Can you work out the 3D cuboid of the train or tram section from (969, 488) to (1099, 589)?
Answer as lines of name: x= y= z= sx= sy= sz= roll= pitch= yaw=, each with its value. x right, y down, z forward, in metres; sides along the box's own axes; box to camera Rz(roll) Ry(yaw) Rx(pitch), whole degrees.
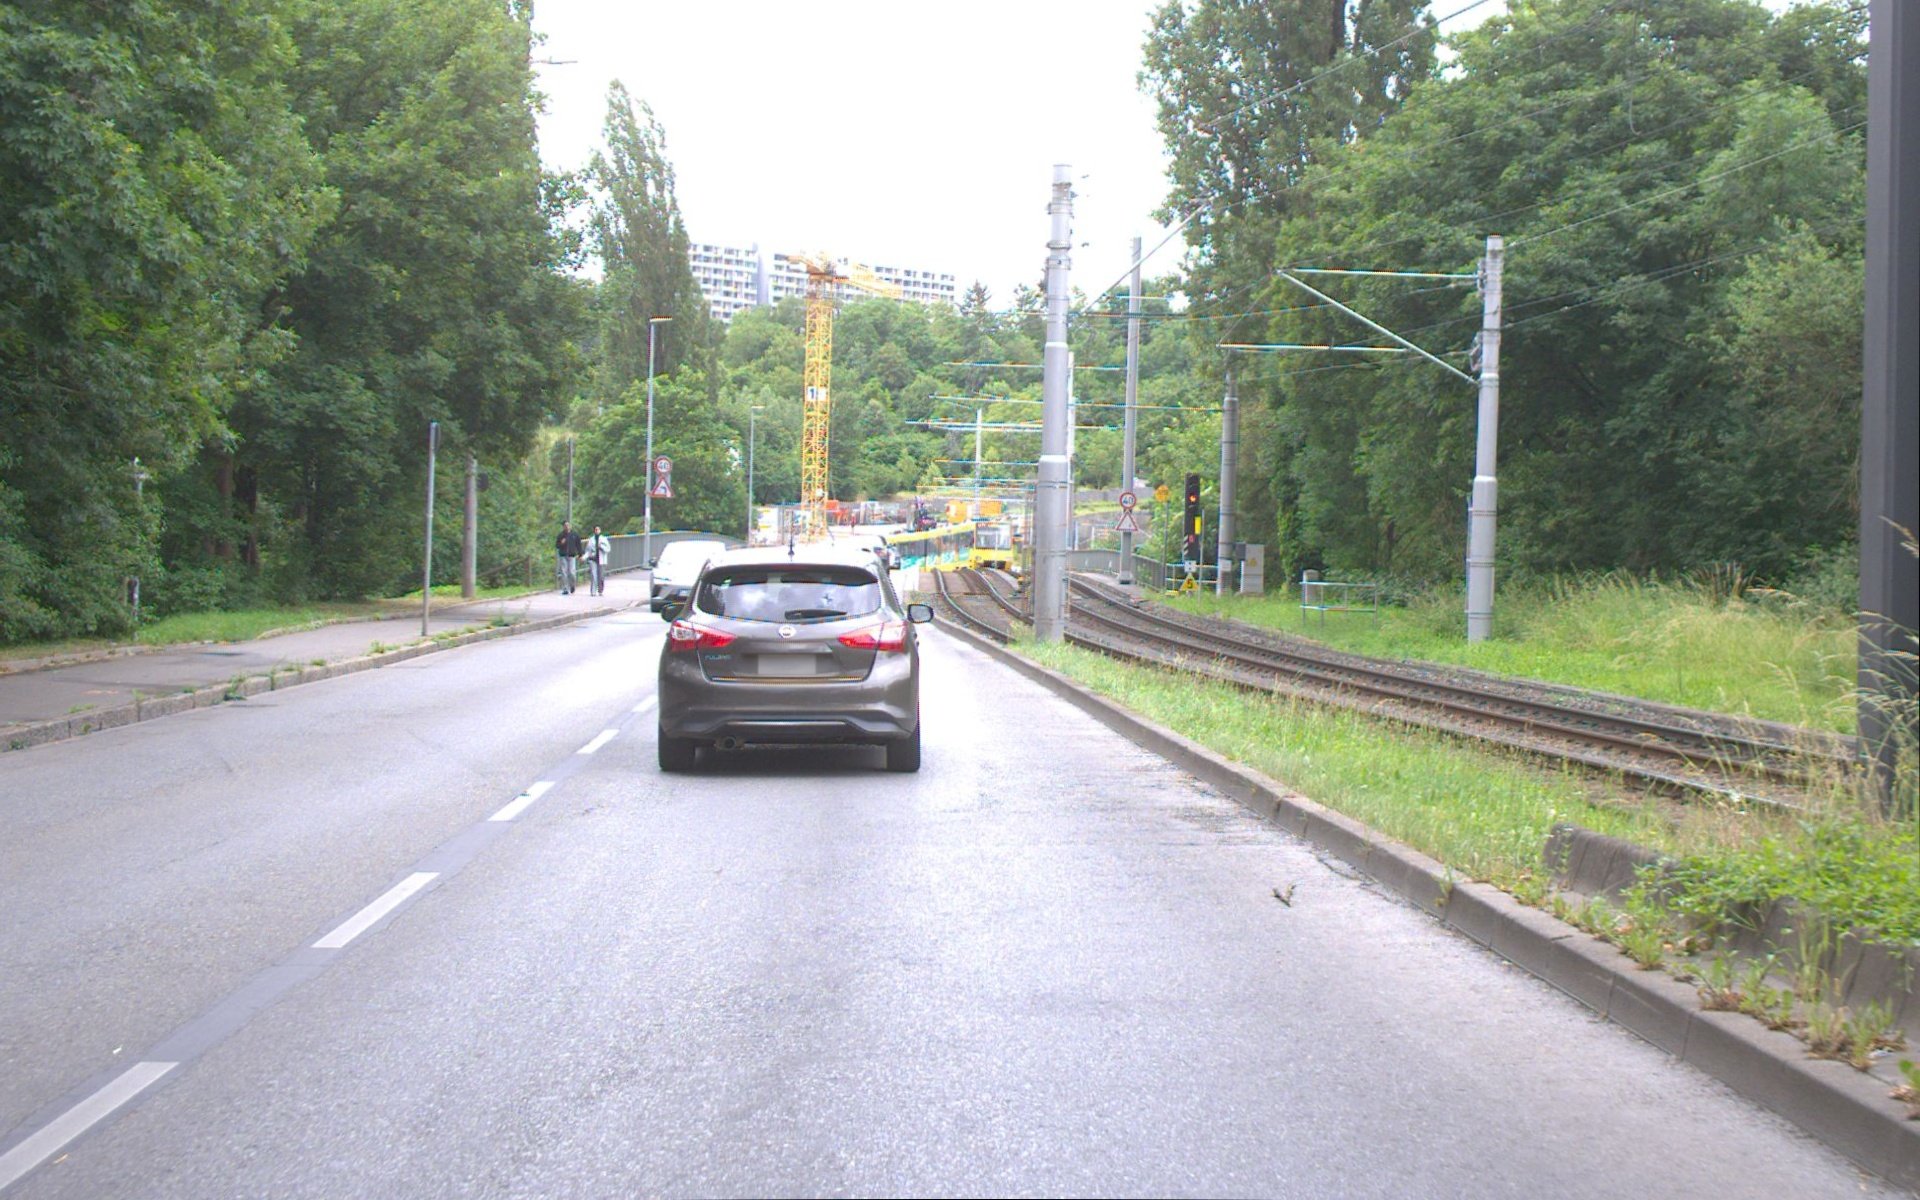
train or tram section: x=4.175 y=-3.459 z=204.461 sx=3.027 sy=5.165 sz=23.060 roll=3 pitch=-1 yaw=-10

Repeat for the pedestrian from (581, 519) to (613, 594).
pedestrian: x=-8.771 y=-1.048 z=83.132 sx=0.551 sy=1.759 sz=0.858 roll=5 pitch=1 yaw=-2

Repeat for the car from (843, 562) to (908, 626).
car: x=-2.286 y=-0.180 z=93.436 sx=1.680 sy=1.601 sz=4.309 roll=2 pitch=1 yaw=-1

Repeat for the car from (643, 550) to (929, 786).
car: x=-1.264 y=0.415 z=24.353 sx=1.829 sy=1.504 sz=4.001 roll=1 pitch=1 yaw=-4

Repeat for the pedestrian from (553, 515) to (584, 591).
pedestrian: x=-9.426 y=-1.127 z=82.731 sx=0.587 sy=1.797 sz=0.822 roll=3 pitch=1 yaw=-2
